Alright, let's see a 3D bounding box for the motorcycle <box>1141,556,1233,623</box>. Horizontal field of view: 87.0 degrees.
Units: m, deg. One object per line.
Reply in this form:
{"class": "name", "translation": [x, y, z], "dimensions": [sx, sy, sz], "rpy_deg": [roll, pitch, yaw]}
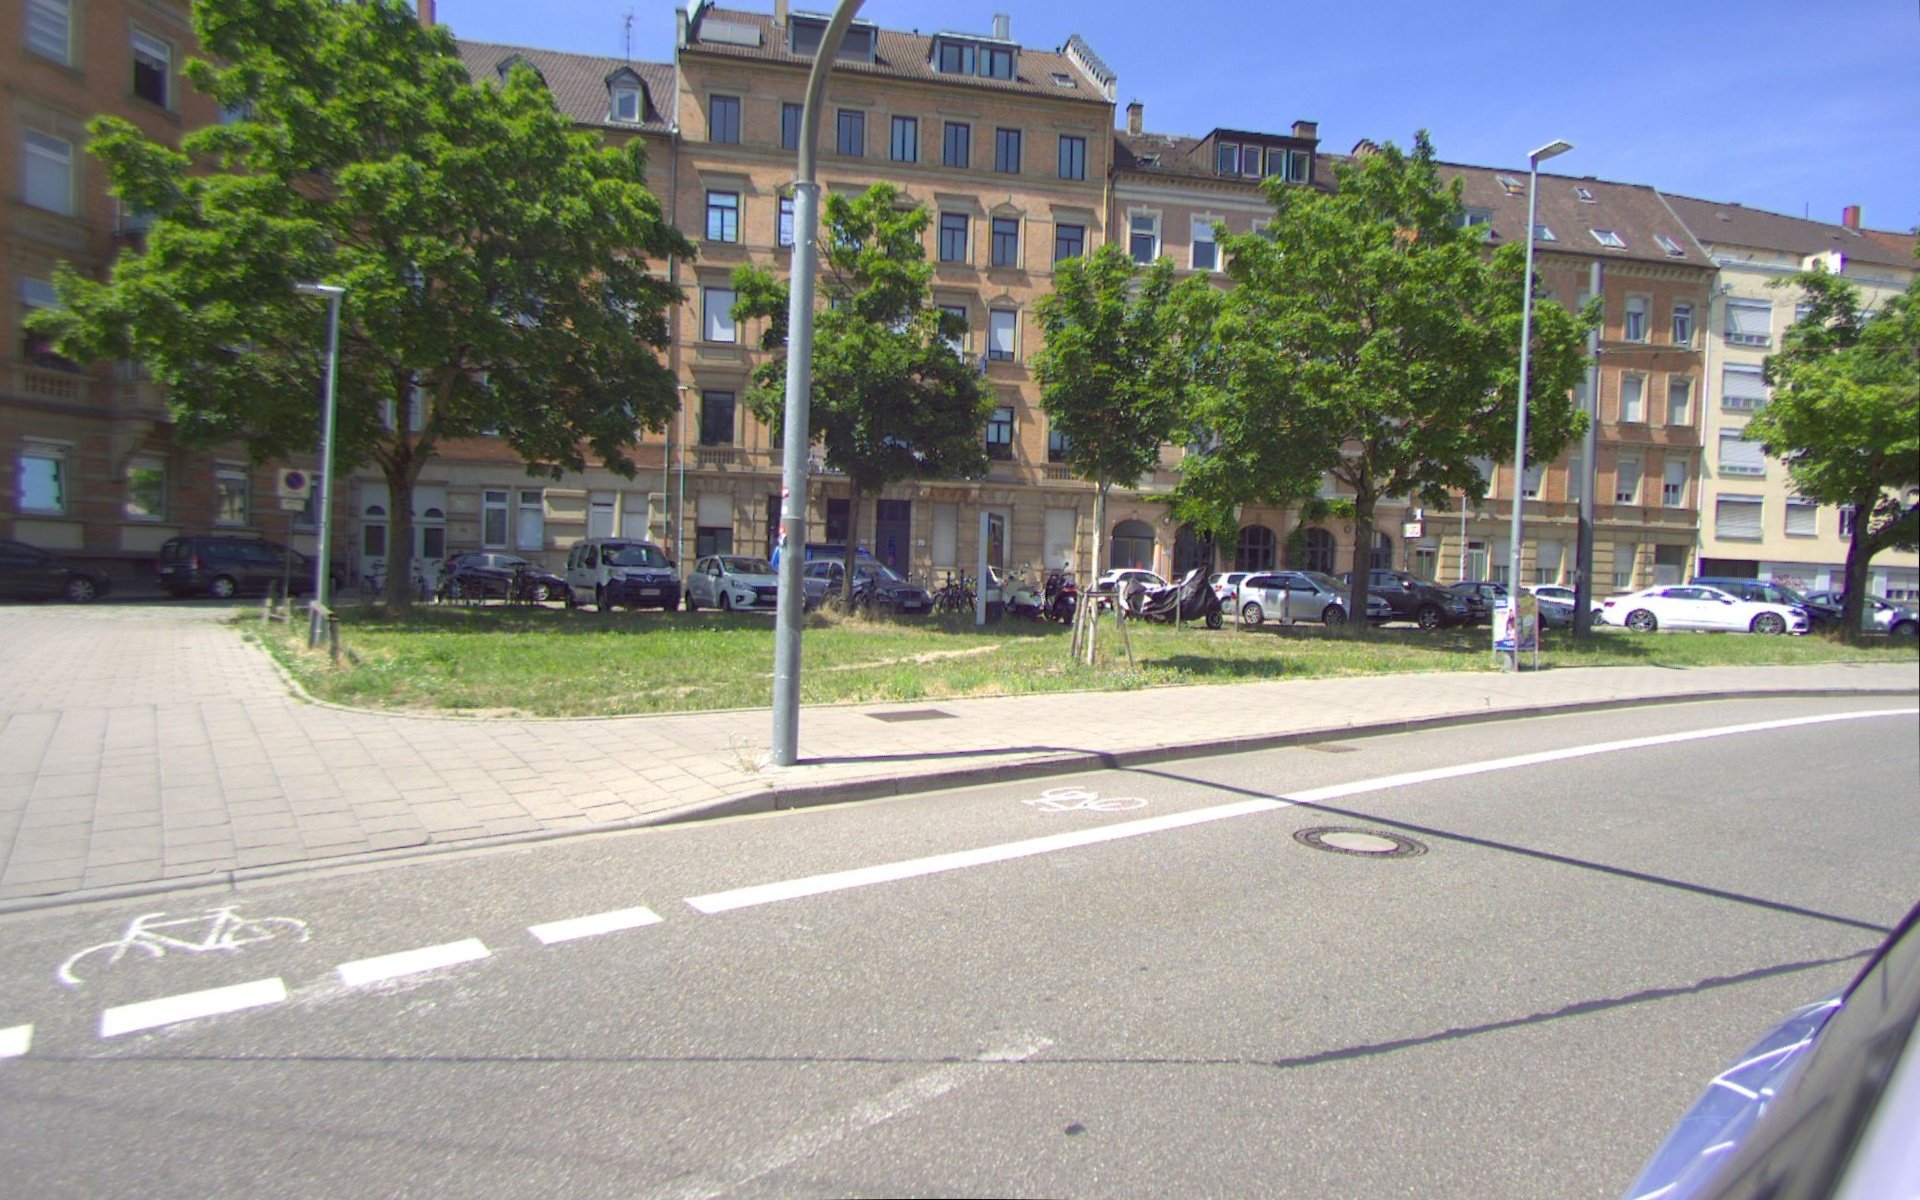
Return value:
{"class": "motorcycle", "translation": [5.064, -0.237, 22.616], "dimensions": [1.818, 1.430, 0.678], "rpy_deg": [2, 2, -8]}

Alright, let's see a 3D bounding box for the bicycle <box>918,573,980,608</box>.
{"class": "bicycle", "translation": [-0.270, -0.231, 24.862], "dimensions": [1.441, 0.815, 0.494], "rpy_deg": [1, 0, 26]}

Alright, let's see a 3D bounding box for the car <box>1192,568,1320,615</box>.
{"class": "car", "translation": [10.467, -0.299, 35.912], "dimensions": [3.917, 1.549, 1.846], "rpy_deg": [1, 0, -11]}

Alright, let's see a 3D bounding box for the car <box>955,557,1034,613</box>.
{"class": "car", "translation": [0.889, -0.403, 28.133], "dimensions": [1.919, 1.393, 4.001], "rpy_deg": [1, 0, -2]}

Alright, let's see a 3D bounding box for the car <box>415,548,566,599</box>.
{"class": "car", "translation": [-14.486, -0.797, 31.451], "dimensions": [3.917, 1.438, 1.780], "rpy_deg": [1, 0, -10]}

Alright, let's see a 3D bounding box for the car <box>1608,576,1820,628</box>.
{"class": "car", "translation": [21.710, 0.025, 29.276], "dimensions": [4.766, 1.330, 2.119], "rpy_deg": [2, 0, 40]}

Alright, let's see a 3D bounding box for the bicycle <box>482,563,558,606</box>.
{"class": "bicycle", "translation": [-10.089, -0.368, 23.154], "dimensions": [2.414, 0.947, 0.501], "rpy_deg": [2, 0, 38]}

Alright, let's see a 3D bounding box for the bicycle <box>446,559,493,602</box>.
{"class": "bicycle", "translation": [-11.446, -0.457, 23.595], "dimensions": [0.499, 0.947, 2.048], "rpy_deg": [1, 0, -39]}

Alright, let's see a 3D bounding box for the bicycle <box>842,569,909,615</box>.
{"class": "bicycle", "translation": [-1.805, -0.173, 21.620], "dimensions": [1.350, 0.959, 0.475], "rpy_deg": [1, 0, 12]}

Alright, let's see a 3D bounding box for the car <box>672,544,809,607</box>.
{"class": "car", "translation": [-5.326, -0.574, 24.200], "dimensions": [1.726, 1.349, 3.999], "rpy_deg": [1, 0, -36]}

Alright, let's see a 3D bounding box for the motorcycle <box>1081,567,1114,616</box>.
{"class": "motorcycle", "translation": [3.677, -0.239, 27.153], "dimensions": [0.798, 1.251, 2.082], "rpy_deg": [1, 1, 6]}

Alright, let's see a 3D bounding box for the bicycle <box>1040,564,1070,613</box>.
{"class": "bicycle", "translation": [2.542, -0.313, 27.361], "dimensions": [0.619, 1.251, 2.085], "rpy_deg": [1, 0, 1]}

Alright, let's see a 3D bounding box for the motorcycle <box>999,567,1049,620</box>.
{"class": "motorcycle", "translation": [1.428, -0.158, 22.858], "dimensions": [0.517, 1.134, 1.832], "rpy_deg": [1, 0, -16]}

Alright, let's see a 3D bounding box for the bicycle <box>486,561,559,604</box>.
{"class": "bicycle", "translation": [-10.489, -0.430, 24.207], "dimensions": [2.415, 0.947, 0.501], "rpy_deg": [3, 2, 38]}

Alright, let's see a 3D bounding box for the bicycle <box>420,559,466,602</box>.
{"class": "bicycle", "translation": [-11.966, -0.448, 23.390], "dimensions": [0.499, 0.947, 2.048], "rpy_deg": [1, 0, -39]}

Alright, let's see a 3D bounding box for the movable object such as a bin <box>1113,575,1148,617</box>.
{"class": "movable object such as a bin", "translation": [4.056, -0.098, 24.143], "dimensions": [0.688, 0.949, 0.988], "rpy_deg": [1, 0, 2]}

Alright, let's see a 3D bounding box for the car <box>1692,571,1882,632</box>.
{"class": "car", "translation": [24.519, 0.021, 30.126], "dimensions": [1.934, 1.683, 4.000], "rpy_deg": [1, 0, -35]}

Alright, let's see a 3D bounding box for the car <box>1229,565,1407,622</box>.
{"class": "car", "translation": [9.365, -0.186, 26.812], "dimensions": [1.552, 1.393, 4.349], "rpy_deg": [1, 0, -35]}

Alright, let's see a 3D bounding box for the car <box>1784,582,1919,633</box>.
{"class": "car", "translation": [27.368, 0.212, 30.323], "dimensions": [1.684, 1.418, 3.989], "rpy_deg": [1, 0, -45]}

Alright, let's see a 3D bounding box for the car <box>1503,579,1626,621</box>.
{"class": "car", "translation": [22.545, -0.008, 37.799], "dimensions": [3.639, 1.438, 1.788], "rpy_deg": [1, 0, -10]}

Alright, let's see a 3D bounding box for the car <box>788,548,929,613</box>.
{"class": "car", "translation": [-2.544, -0.466, 24.605], "dimensions": [1.578, 1.450, 3.866], "rpy_deg": [1, 0, -38]}

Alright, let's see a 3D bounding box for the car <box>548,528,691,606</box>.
{"class": "car", "translation": [-8.081, -0.736, 23.742], "dimensions": [1.801, 1.621, 4.874], "rpy_deg": [1, 0, -36]}

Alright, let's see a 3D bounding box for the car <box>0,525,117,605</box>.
{"class": "car", "translation": [-20.414, -0.741, 21.069], "dimensions": [1.674, 1.645, 4.103], "rpy_deg": [1, 0, 20]}

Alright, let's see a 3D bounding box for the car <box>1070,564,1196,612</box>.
{"class": "car", "translation": [5.994, -0.417, 35.241], "dimensions": [3.918, 1.549, 1.845], "rpy_deg": [1, 0, -7]}

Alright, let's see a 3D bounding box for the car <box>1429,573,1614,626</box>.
{"class": "car", "translation": [15.250, -0.036, 27.677], "dimensions": [1.933, 1.330, 4.004], "rpy_deg": [1, 0, -31]}

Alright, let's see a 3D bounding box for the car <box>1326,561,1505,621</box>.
{"class": "car", "translation": [12.249, -0.256, 27.450], "dimensions": [1.764, 1.488, 4.091], "rpy_deg": [1, 0, -36]}

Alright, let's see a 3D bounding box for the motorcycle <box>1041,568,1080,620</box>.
{"class": "motorcycle", "translation": [2.280, -0.140, 23.037], "dimensions": [0.468, 1.134, 1.528], "rpy_deg": [1, 0, -10]}

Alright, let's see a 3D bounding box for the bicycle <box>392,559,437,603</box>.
{"class": "bicycle", "translation": [-12.381, -0.437, 22.937], "dimensions": [0.499, 0.947, 2.048], "rpy_deg": [1, 0, -39]}

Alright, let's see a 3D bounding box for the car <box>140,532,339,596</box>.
{"class": "car", "translation": [-19.090, -0.915, 27.042], "dimensions": [1.755, 1.549, 4.055], "rpy_deg": [1, 0, 20]}

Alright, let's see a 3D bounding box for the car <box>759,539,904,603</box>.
{"class": "car", "translation": [-4.242, -0.920, 33.337], "dimensions": [4.558, 1.928, 1.929], "rpy_deg": [1, 0, -9]}
